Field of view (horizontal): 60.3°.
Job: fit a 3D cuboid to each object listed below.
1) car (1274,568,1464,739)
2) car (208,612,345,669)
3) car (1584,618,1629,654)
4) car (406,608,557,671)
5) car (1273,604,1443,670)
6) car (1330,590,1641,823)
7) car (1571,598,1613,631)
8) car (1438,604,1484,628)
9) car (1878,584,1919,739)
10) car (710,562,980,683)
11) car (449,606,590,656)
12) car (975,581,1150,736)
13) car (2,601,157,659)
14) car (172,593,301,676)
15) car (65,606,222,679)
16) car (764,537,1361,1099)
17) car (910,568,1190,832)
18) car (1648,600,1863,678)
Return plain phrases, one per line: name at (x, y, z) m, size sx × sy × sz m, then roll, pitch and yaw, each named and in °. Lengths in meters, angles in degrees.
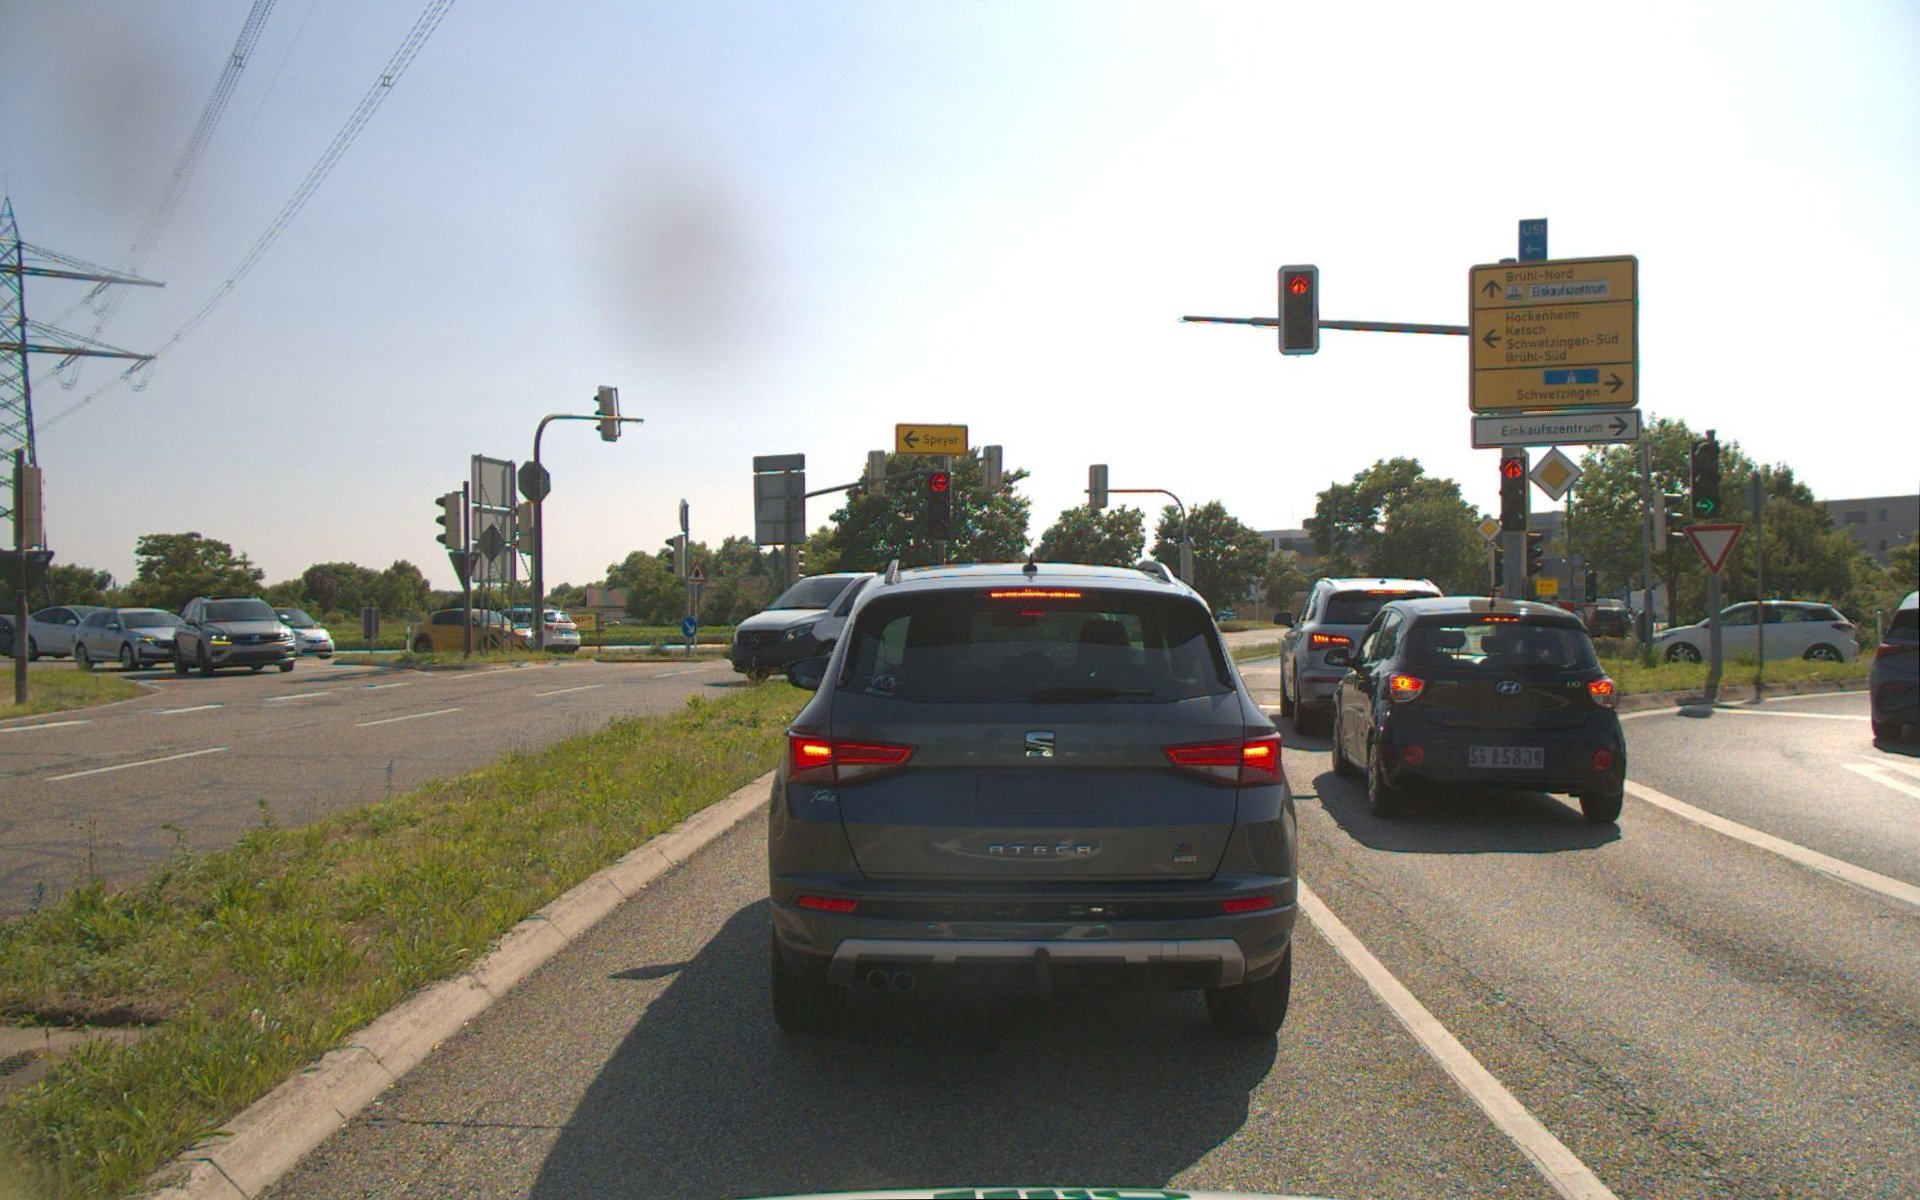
car at (4.484, 0.541, 18.594) m, size 1.598 × 1.706 × 3.752 m, roll 1°, pitch 0°, yaw 7°
car at (-20.969, 1.227, 50.752) m, size 3.910 × 1.680 × 1.818 m, roll -1°, pitch 0°, yaw 28°
car at (32.415, 1.795, 82.865) m, size 1.839 × 1.702 × 3.767 m, roll 1°, pitch 0°, yaw 25°
car at (-13.430, 1.082, 46.425) m, size 3.910 × 1.680 × 1.818 m, roll -1°, pitch 0°, yaw 28°
car at (9.838, 0.898, 40.842) m, size 3.791 × 1.545 × 1.806 m, roll -1°, pitch 0°, yaw 26°
car at (3.763, 0.680, 12.356) m, size 1.598 × 1.473 × 3.297 m, roll 1°, pitch 0°, yaw 7°
car at (37.543, 0.870, 98.256) m, size 1.685 × 1.851 × 3.768 m, roll 1°, pitch 0°, yaw 31°
car at (34.853, 1.114, 115.029) m, size 1.686 × 1.576 × 3.590 m, roll 1°, pitch 0°, yaw 41°
car at (11.182, 0.608, 17.915) m, size 1.743 × 1.544 × 4.085 m, roll 1°, pitch 1°, yaw 35°
car at (-1.936, 0.349, 29.330) m, size 1.962 × 1.951 × 4.923 m, roll 1°, pitch 1°, yaw 39°
car at (-14.223, 0.995, 53.380) m, size 4.236 × 1.545 × 1.806 m, roll -1°, pitch 0°, yaw 26°
car at (1.179, 0.590, 18.288) m, size 1.705 × 1.510 × 3.626 m, roll 1°, pitch 0°, yaw 5°
car at (-26.365, 0.891, 49.477) m, size 4.654 × 1.680 × 1.818 m, roll -1°, pitch -1°, yaw 28°
car at (-15.590, 0.705, 35.557) m, size 1.800 × 1.680 × 3.950 m, roll 0°, pitch 0°, yaw -35°
car at (-19.936, 1.005, 40.349) m, size 3.919 × 1.680 × 1.814 m, roll -1°, pitch 0°, yaw 36°
car at (0.294, 0.641, 6.622) m, size 1.706 × 1.596 × 3.624 m, roll 1°, pitch 0°, yaw 0°
car at (0.581, 0.627, 12.087) m, size 1.706 × 1.596 × 3.624 m, roll 1°, pitch 0°, yaw 1°
car at (16.022, 0.748, 33.383) m, size 3.824 × 1.490 × 1.721 m, roll 0°, pitch 0°, yaw 28°
